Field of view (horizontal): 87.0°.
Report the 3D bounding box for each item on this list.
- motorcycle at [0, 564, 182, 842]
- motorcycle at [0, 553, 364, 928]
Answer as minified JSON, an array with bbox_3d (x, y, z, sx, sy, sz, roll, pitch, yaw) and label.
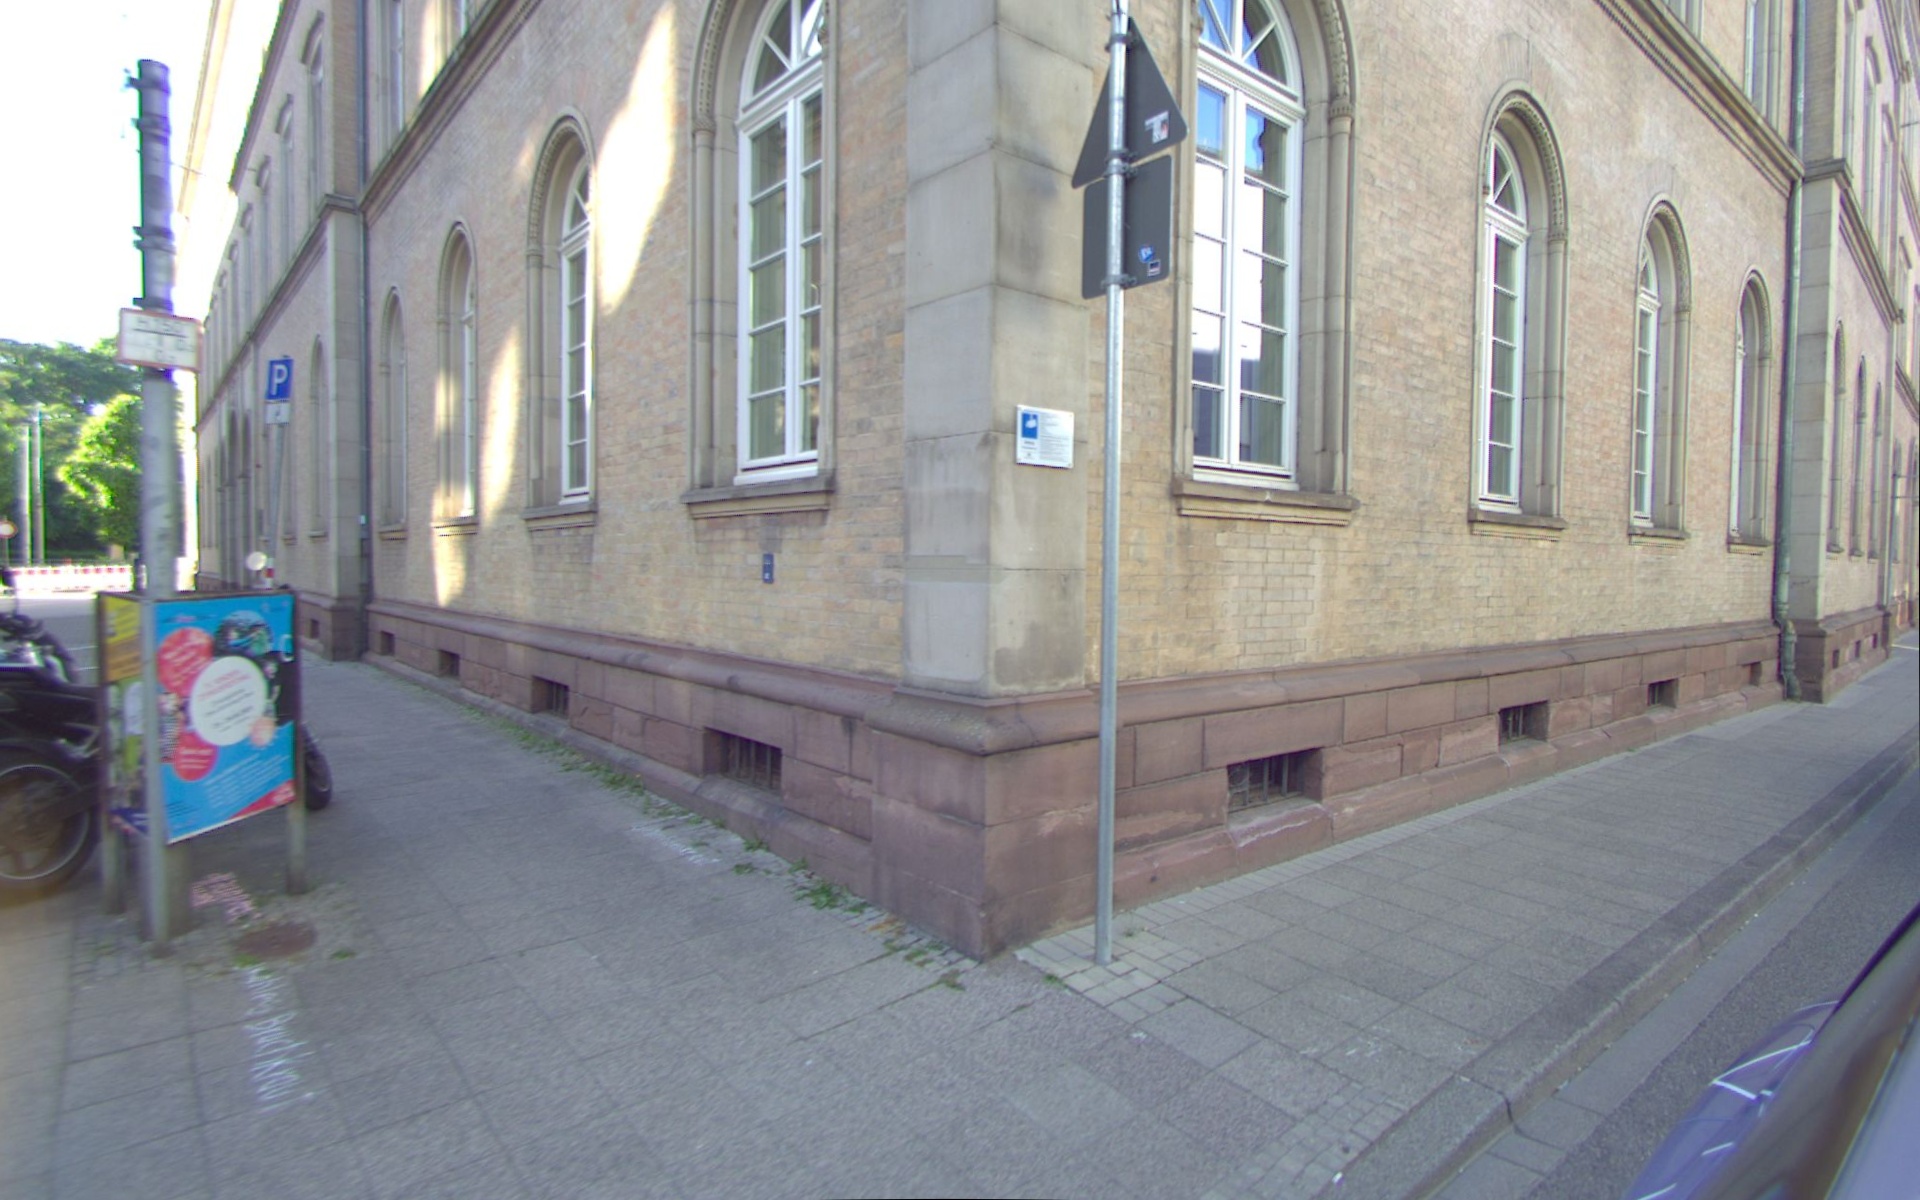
[{"bbox_3d":[-5.383,0.465,5.256,2.106,1.304,0.828,0,2,4],"label":"motorcycle"},{"bbox_3d":[-3.776,0.465,4.682,0.694,1.349,2.079,0,3,4],"label":"motorcycle"}]
